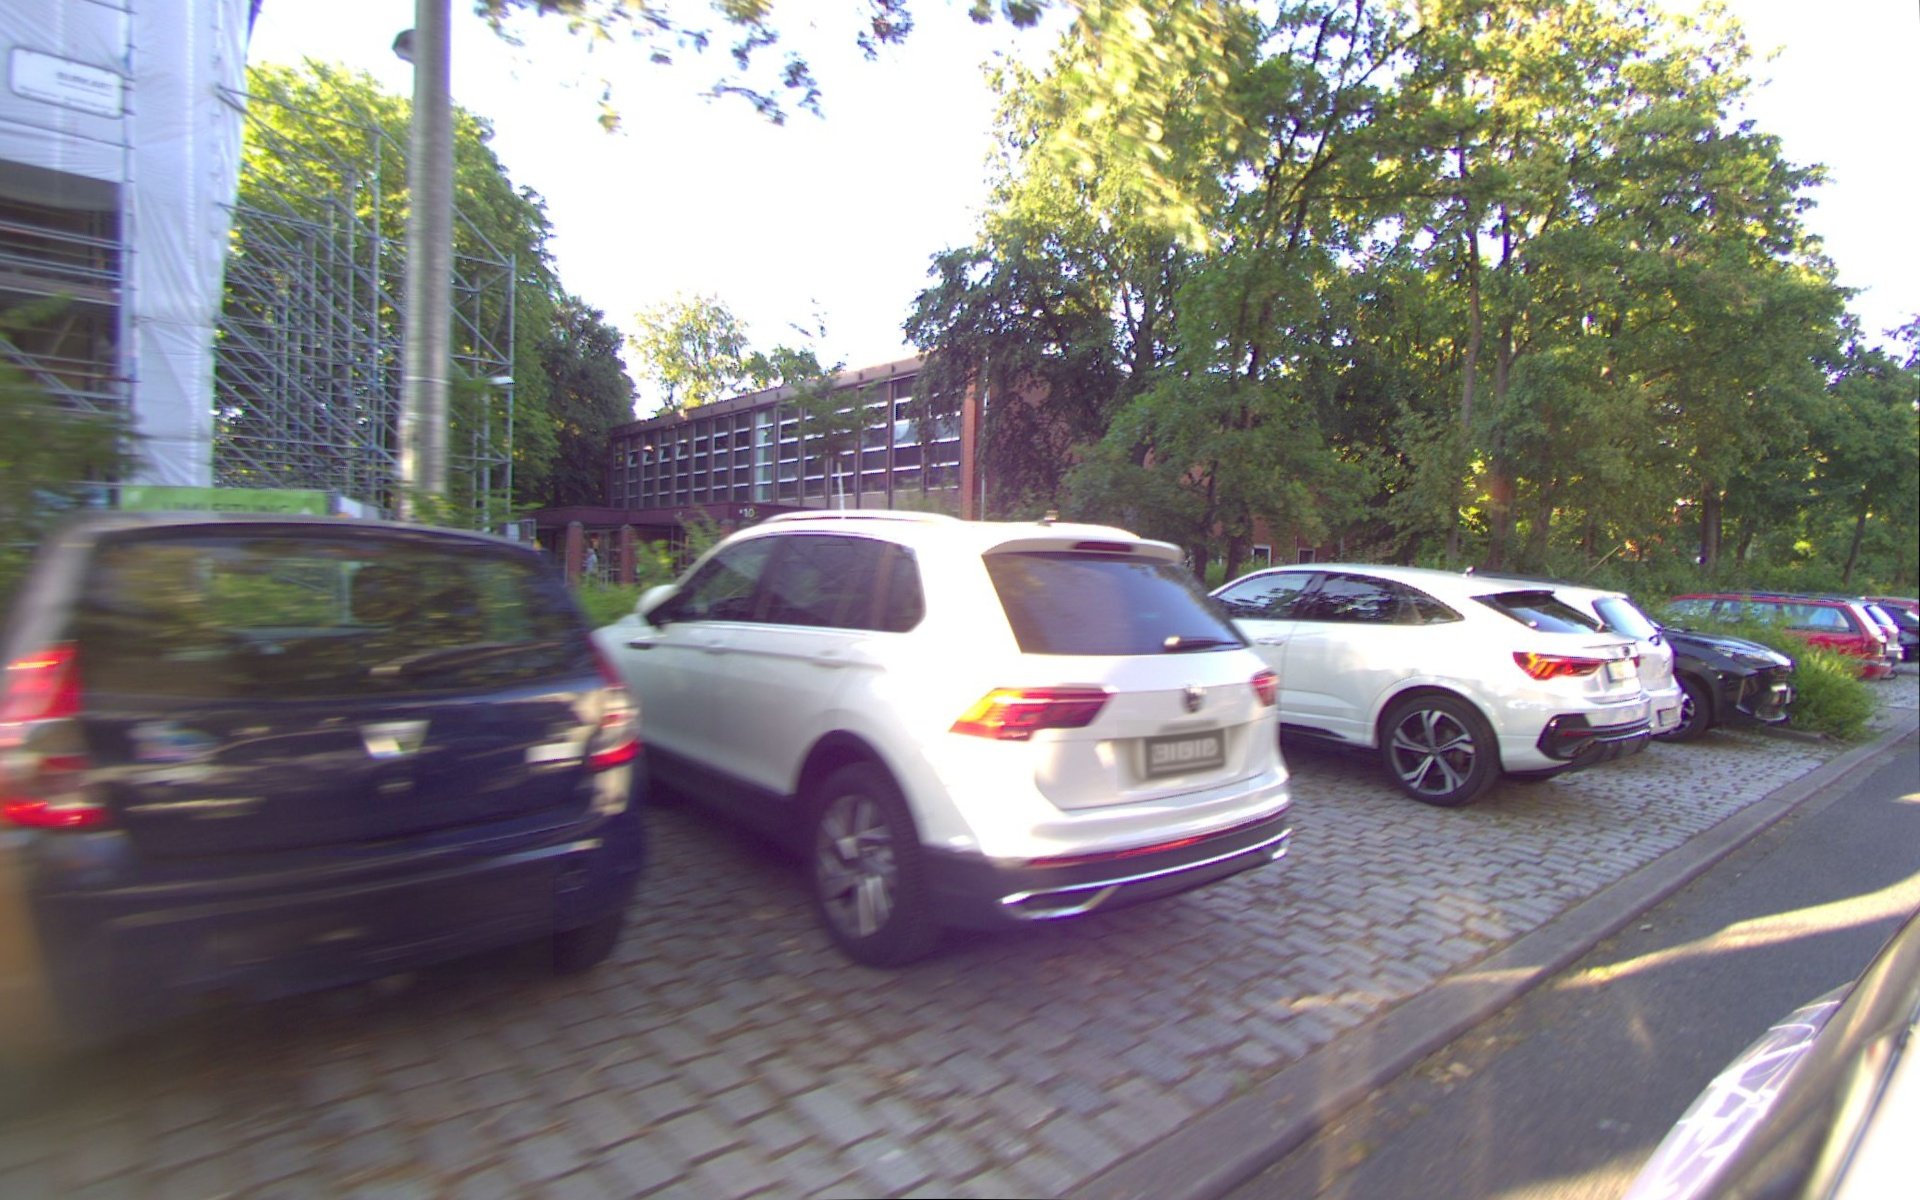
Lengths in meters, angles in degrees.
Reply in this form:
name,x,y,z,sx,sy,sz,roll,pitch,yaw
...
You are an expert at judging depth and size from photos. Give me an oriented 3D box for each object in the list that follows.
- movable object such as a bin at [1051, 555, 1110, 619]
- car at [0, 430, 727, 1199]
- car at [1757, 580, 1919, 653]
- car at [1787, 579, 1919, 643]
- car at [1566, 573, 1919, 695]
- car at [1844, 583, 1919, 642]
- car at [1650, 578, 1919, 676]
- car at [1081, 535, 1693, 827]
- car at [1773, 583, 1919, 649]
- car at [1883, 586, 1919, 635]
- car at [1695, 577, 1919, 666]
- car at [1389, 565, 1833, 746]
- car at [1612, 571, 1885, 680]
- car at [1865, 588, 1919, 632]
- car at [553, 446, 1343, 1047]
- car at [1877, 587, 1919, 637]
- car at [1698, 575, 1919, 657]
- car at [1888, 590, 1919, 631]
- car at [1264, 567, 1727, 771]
name,x,y,z,sx,sy,sz,roll,pitch,yaw
movable object such as a bin,2.853,-0.315,23.987,0.966,1.456,0.964,1,2,-38
car,-2.444,0.397,3.531,3.190,1.511,1.659,2,1,42
car,22.530,0.405,25.243,1.725,1.492,3.818,1,5,-40
car,26.182,0.315,28.805,1.788,1.516,3.736,-1,6,-40
car,12.851,0.461,16.847,1.711,1.493,4.348,1,4,-41
car,28.676,0.442,29.837,1.705,1.571,3.674,1,5,-42
car,16.285,0.454,20.031,1.799,1.471,3.936,0,5,-39
car,3.051,0.415,7.982,1.692,1.688,4.131,0,1,-40
car,24.315,0.414,27.010,1.725,1.411,3.760,-1,6,-40
car,32.590,0.463,32.869,1.643,1.543,3.618,1,5,-42
car,18.514,0.410,21.681,1.800,1.492,4.129,0,5,-42
car,6.894,0.445,10.999,1.668,1.614,3.750,0,1,-42
car,14.522,0.376,18.766,1.713,1.574,3.717,0,5,-44
car,36.514,0.412,38.096,1.642,1.544,3.393,0,2,-40
car,-0.481,0.368,5.131,1.833,1.731,4.181,0,1,-38
car,30.964,0.499,31.266,1.705,1.462,3.674,0,5,-42
car,20.123,0.309,24.028,1.799,1.492,3.818,-1,6,-40
car,38.682,0.453,39.348,1.642,1.559,3.635,1,1,-40
car,5.048,0.494,9.877,1.787,1.586,3.595,0,1,-41
